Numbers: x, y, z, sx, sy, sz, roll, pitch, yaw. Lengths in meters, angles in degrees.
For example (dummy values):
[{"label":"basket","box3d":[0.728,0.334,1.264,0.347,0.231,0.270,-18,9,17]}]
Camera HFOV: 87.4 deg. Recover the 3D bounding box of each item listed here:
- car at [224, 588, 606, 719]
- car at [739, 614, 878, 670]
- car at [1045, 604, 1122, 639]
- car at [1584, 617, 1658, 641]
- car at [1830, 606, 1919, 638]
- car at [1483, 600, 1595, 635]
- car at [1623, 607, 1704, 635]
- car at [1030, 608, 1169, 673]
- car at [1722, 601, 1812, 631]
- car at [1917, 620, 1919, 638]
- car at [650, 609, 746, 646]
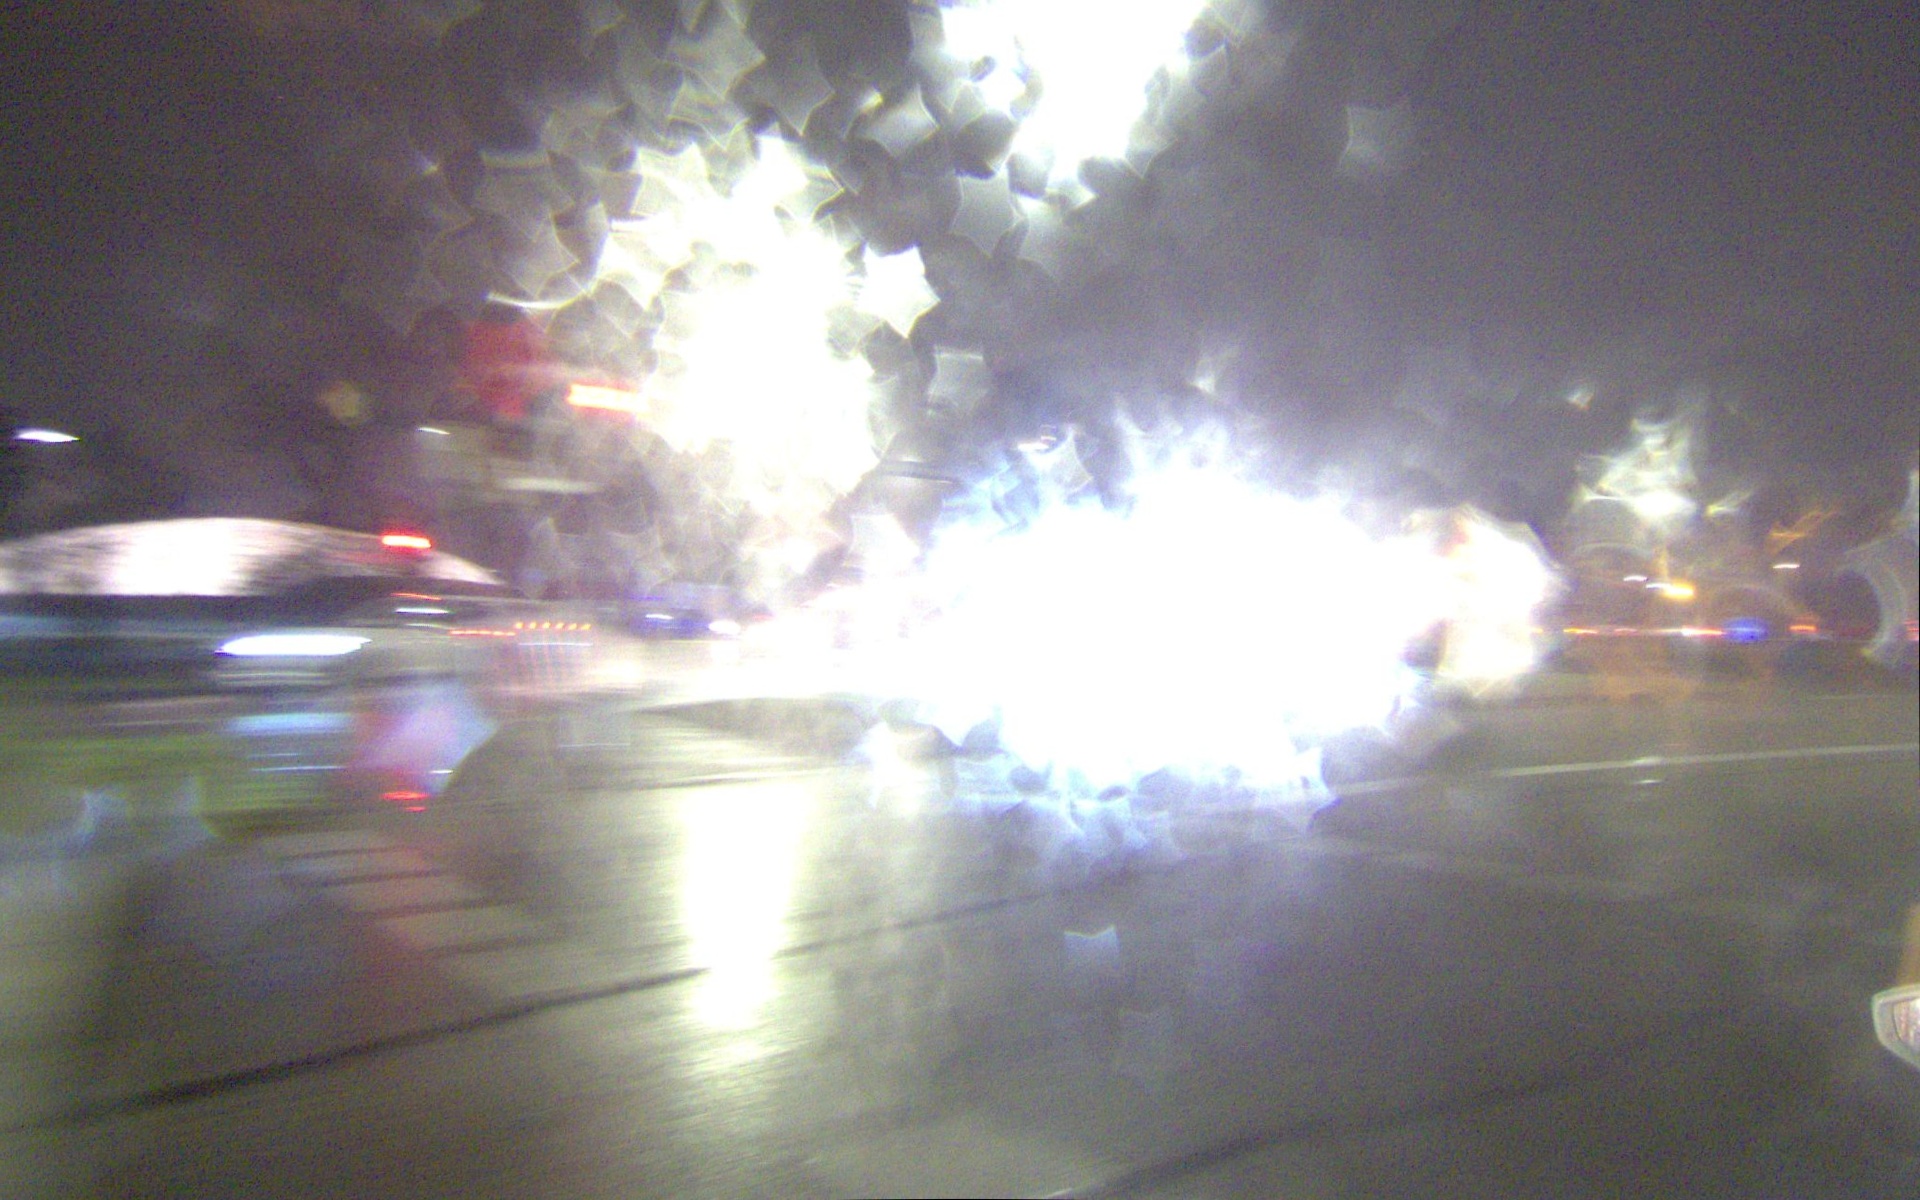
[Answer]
[{"label":"car","box3d":[-8.485,0.724,16.141,2.036,1.739,5.023,1,0,35]},{"label":"car","box3d":[-4.642,1.247,31.437,1.964,1.561,4.408,1,0,30]},{"label":"car","box3d":[7.651,1.328,62.517,4.346,2.040,1.995,1,0,-13]},{"label":"car","box3d":[44.624,1.928,67.821,3.942,1.506,1.760,1,0,42]},{"label":"car","box3d":[50.354,1.183,54.911,1.858,1.600,3.925,1,0,-35]},{"label":"car","box3d":[38.340,1.102,66.704,6.195,2.117,2.513,1,0,25]},{"label":"car","box3d":[44.165,1.315,63.065,3.943,1.637,1.826,1,0,43]},{"label":"car","box3d":[4.365,1.148,30.675,2.029,1.755,5.114,1,0,36]},{"label":"car","box3d":[47.364,0.912,59.008,1.724,1.600,3.916,1,0,-41]},{"label":"car","box3d":[57.047,1.705,57.197,1.463,1.045,3.586,1,0,-40]},{"label":"car","box3d":[-12.042,1.246,46.357,3.920,1.595,1.760,1,0,3]}]
